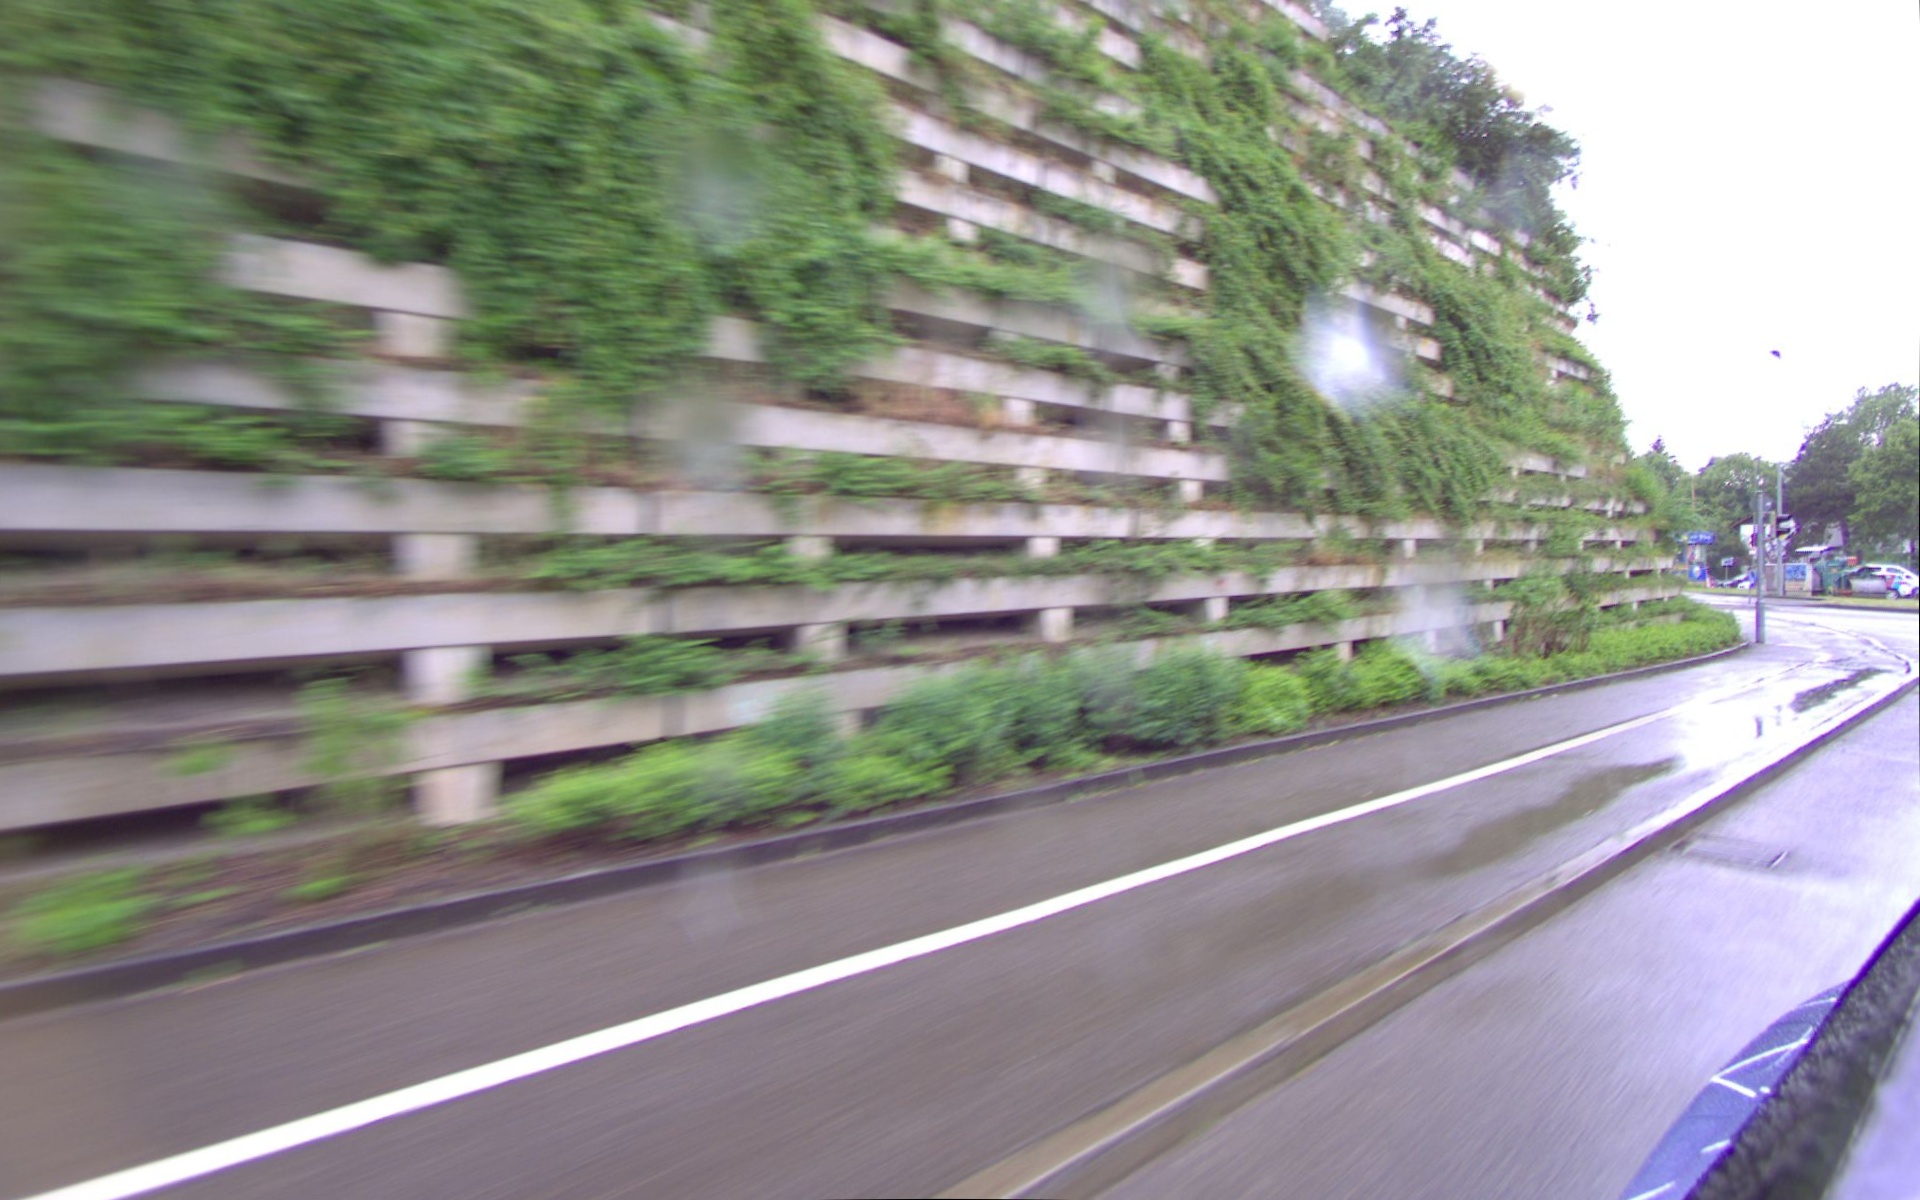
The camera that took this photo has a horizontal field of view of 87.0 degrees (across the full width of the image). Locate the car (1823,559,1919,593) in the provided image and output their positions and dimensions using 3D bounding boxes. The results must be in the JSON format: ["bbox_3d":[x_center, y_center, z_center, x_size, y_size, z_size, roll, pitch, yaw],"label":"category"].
[{"bbox_3d":[47.958,-1.261,52.969,1.641,1.593,3.996,-1,4,-41],"label":"car"}]

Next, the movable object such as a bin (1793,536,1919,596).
[{"bbox_3d":[43.737,-1.639,49.444,2.277,2.719,5.681,2,2,13],"label":"movable object such as a bin"}]

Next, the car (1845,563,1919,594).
[{"bbox_3d":[51.692,-1.214,56.125,1.564,1.593,3.708,-1,4,-40],"label":"car"}]

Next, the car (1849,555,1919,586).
[{"bbox_3d":[56.941,-1.776,61.290,1.888,1.787,4.386,-1,4,-40],"label":"car"}]
